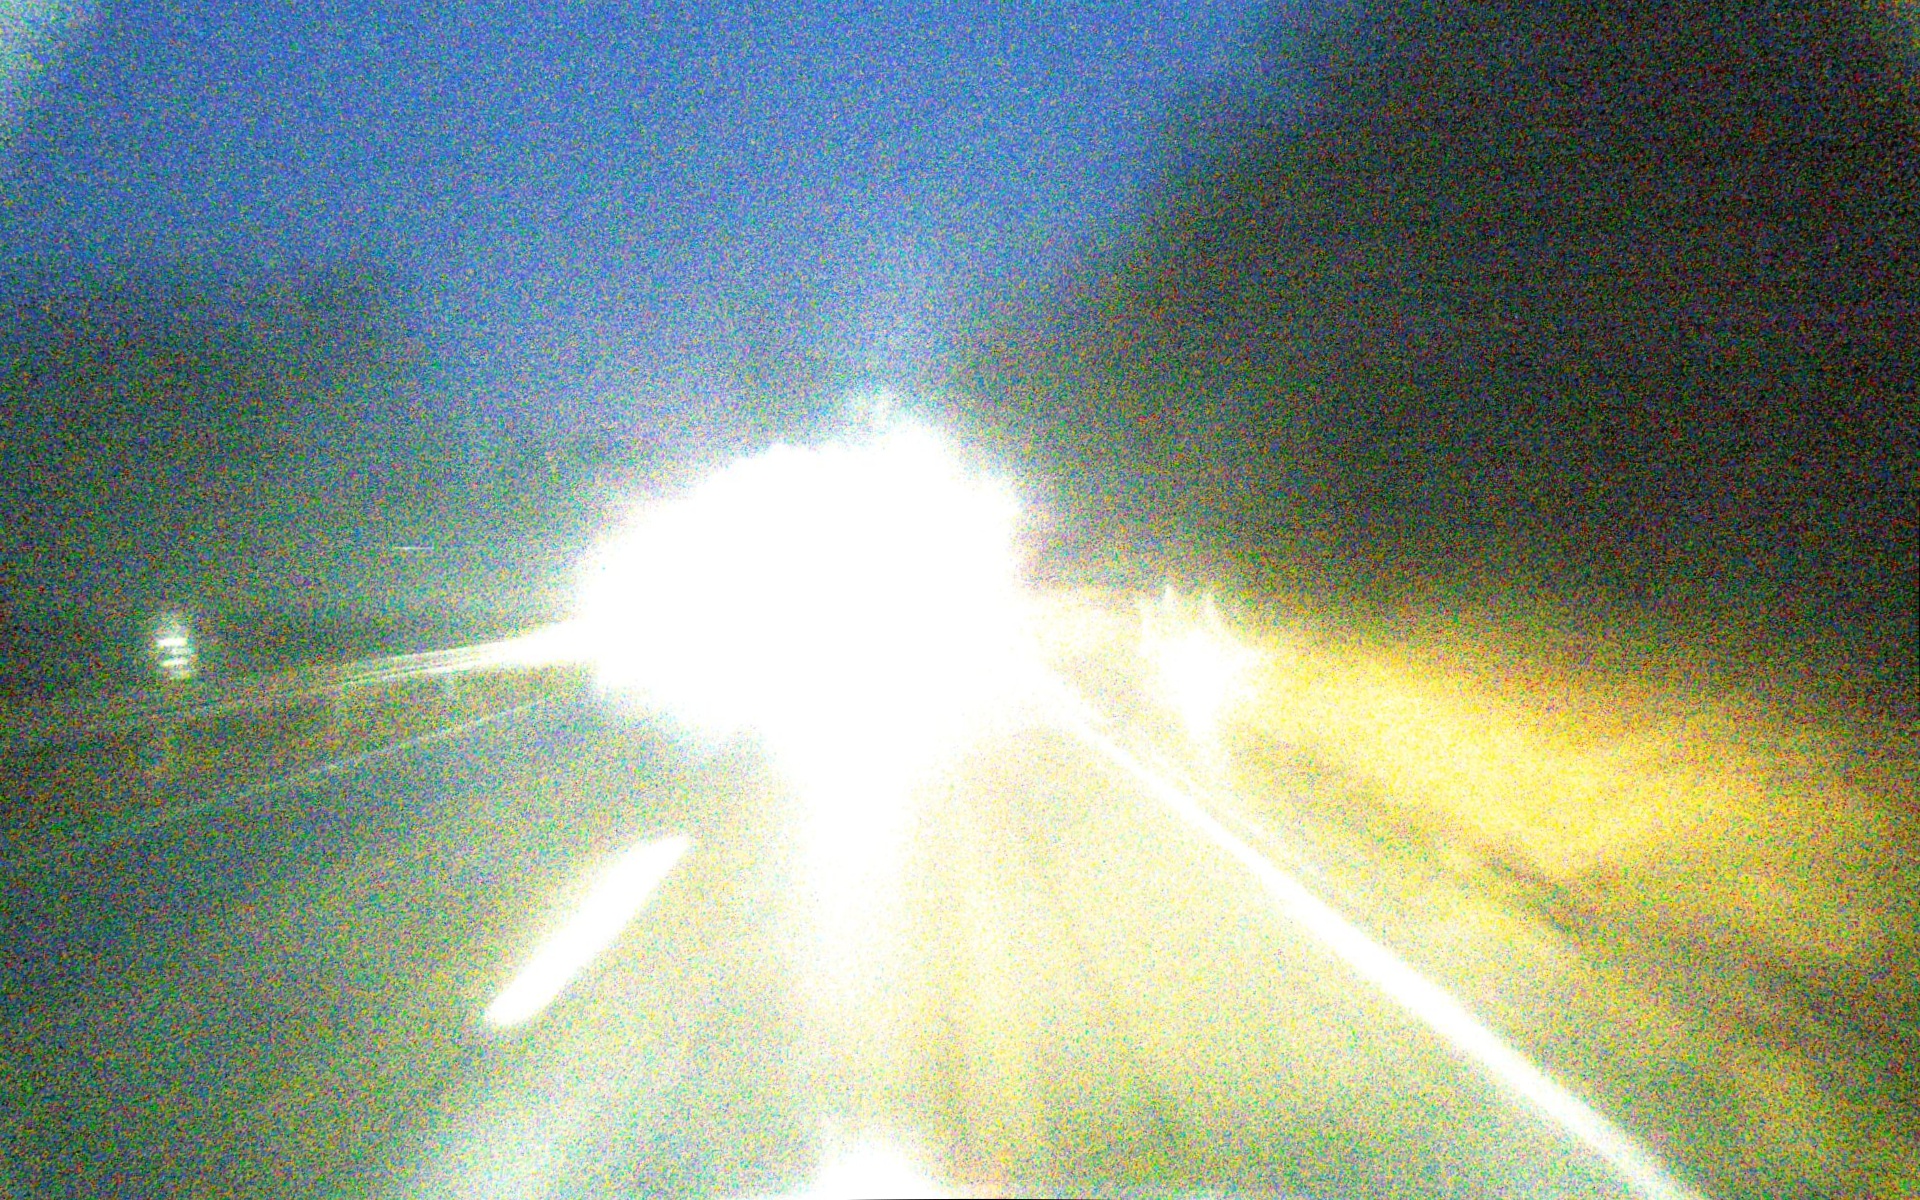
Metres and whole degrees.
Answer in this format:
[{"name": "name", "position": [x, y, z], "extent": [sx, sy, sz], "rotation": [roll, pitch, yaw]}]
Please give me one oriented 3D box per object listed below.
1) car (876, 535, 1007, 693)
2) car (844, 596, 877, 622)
[{"name": "car", "position": [-0.371, 0.175, 30.429], "extent": [2.137, 2.601, 4.507], "rotation": [2, 2, -2]}, {"name": "car", "position": [-6.149, 0.526, 102.474], "extent": [1.935, 1.542, 4.345], "rotation": [0, 0, -2]}]
